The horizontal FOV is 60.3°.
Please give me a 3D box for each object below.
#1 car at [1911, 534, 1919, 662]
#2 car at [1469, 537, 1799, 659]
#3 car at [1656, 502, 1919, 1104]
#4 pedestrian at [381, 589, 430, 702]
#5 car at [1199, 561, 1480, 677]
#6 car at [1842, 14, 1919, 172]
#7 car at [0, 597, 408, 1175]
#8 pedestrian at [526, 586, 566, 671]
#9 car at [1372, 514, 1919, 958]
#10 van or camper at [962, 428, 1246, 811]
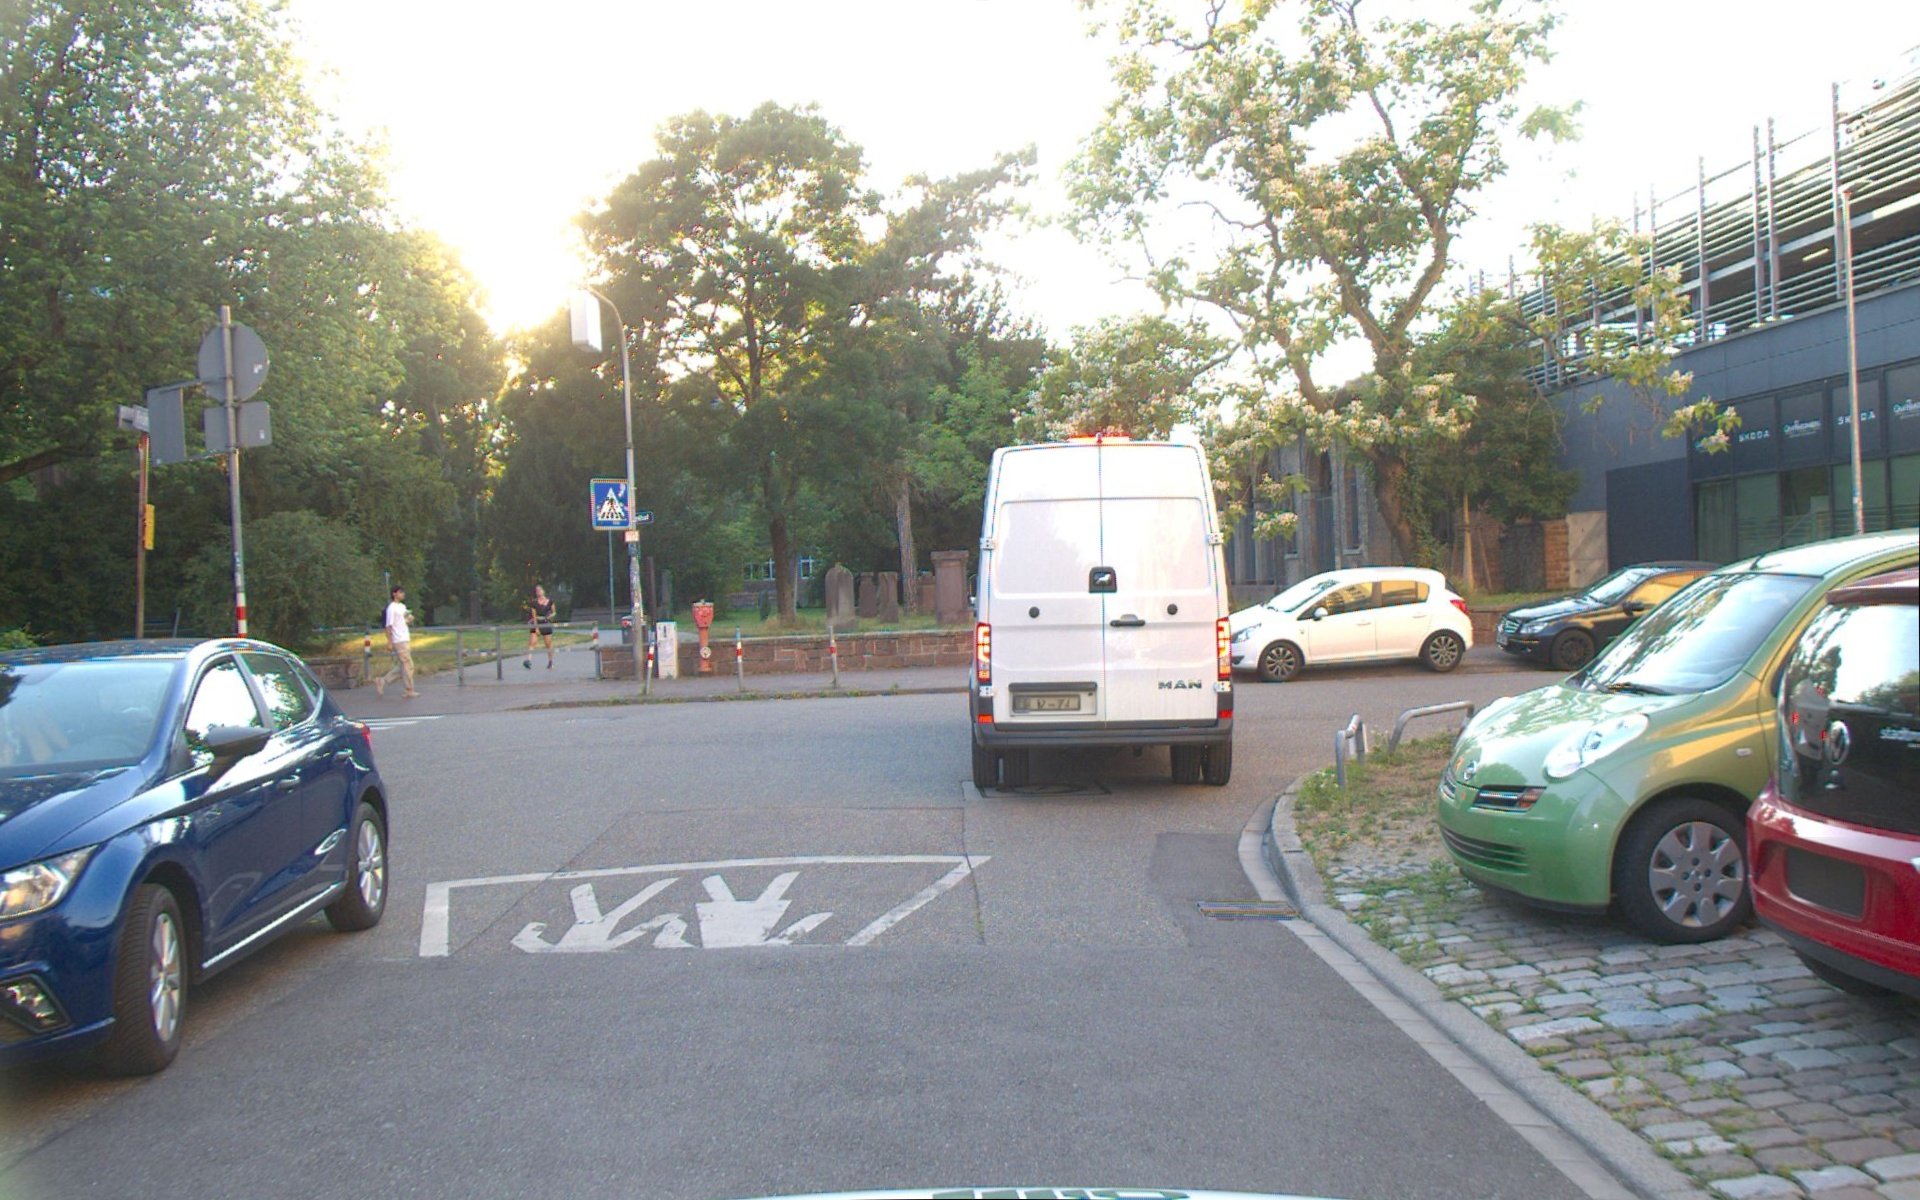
[{"bbox_3d":[13.497,-0.131,19.225,3.758,1.550,1.824,-4,0,2],"label":"car"},{"bbox_3d":[10.132,-0.026,25.111,4.204,1.529,1.824,-4,0,2],"label":"car"},{"bbox_3d":[4.745,0.337,5.076,4.315,1.659,1.846,-6,0,0],"label":"car"},{"bbox_3d":[-9.255,0.749,27.598,0.581,1.840,0.620,-1,0,-1],"label":"pedestrian"},{"bbox_3d":[5.750,0.269,25.354,3.778,1.601,1.957,-2,0,-4],"label":"car"},{"bbox_3d":[18.073,-9.393,30.195,1.952,2.049,4.002,-1,0,3],"label":"car"},{"bbox_3d":[-3.512,0.840,6.413,1.700,1.594,3.786,-4,0,-5],"label":"car"},{"bbox_3d":[-8.229,0.561,32.916,0.633,1.677,0.673,0,0,-2],"label":"pedestrian"},{"bbox_3d":[4.355,0.481,7.654,4.317,1.660,1.844,-4,-2,-4],"label":"car"},{"bbox_3d":[1.107,0.136,14.850,1.952,2.664,6.404,-1,0,2],"label":"van or camper"}]
